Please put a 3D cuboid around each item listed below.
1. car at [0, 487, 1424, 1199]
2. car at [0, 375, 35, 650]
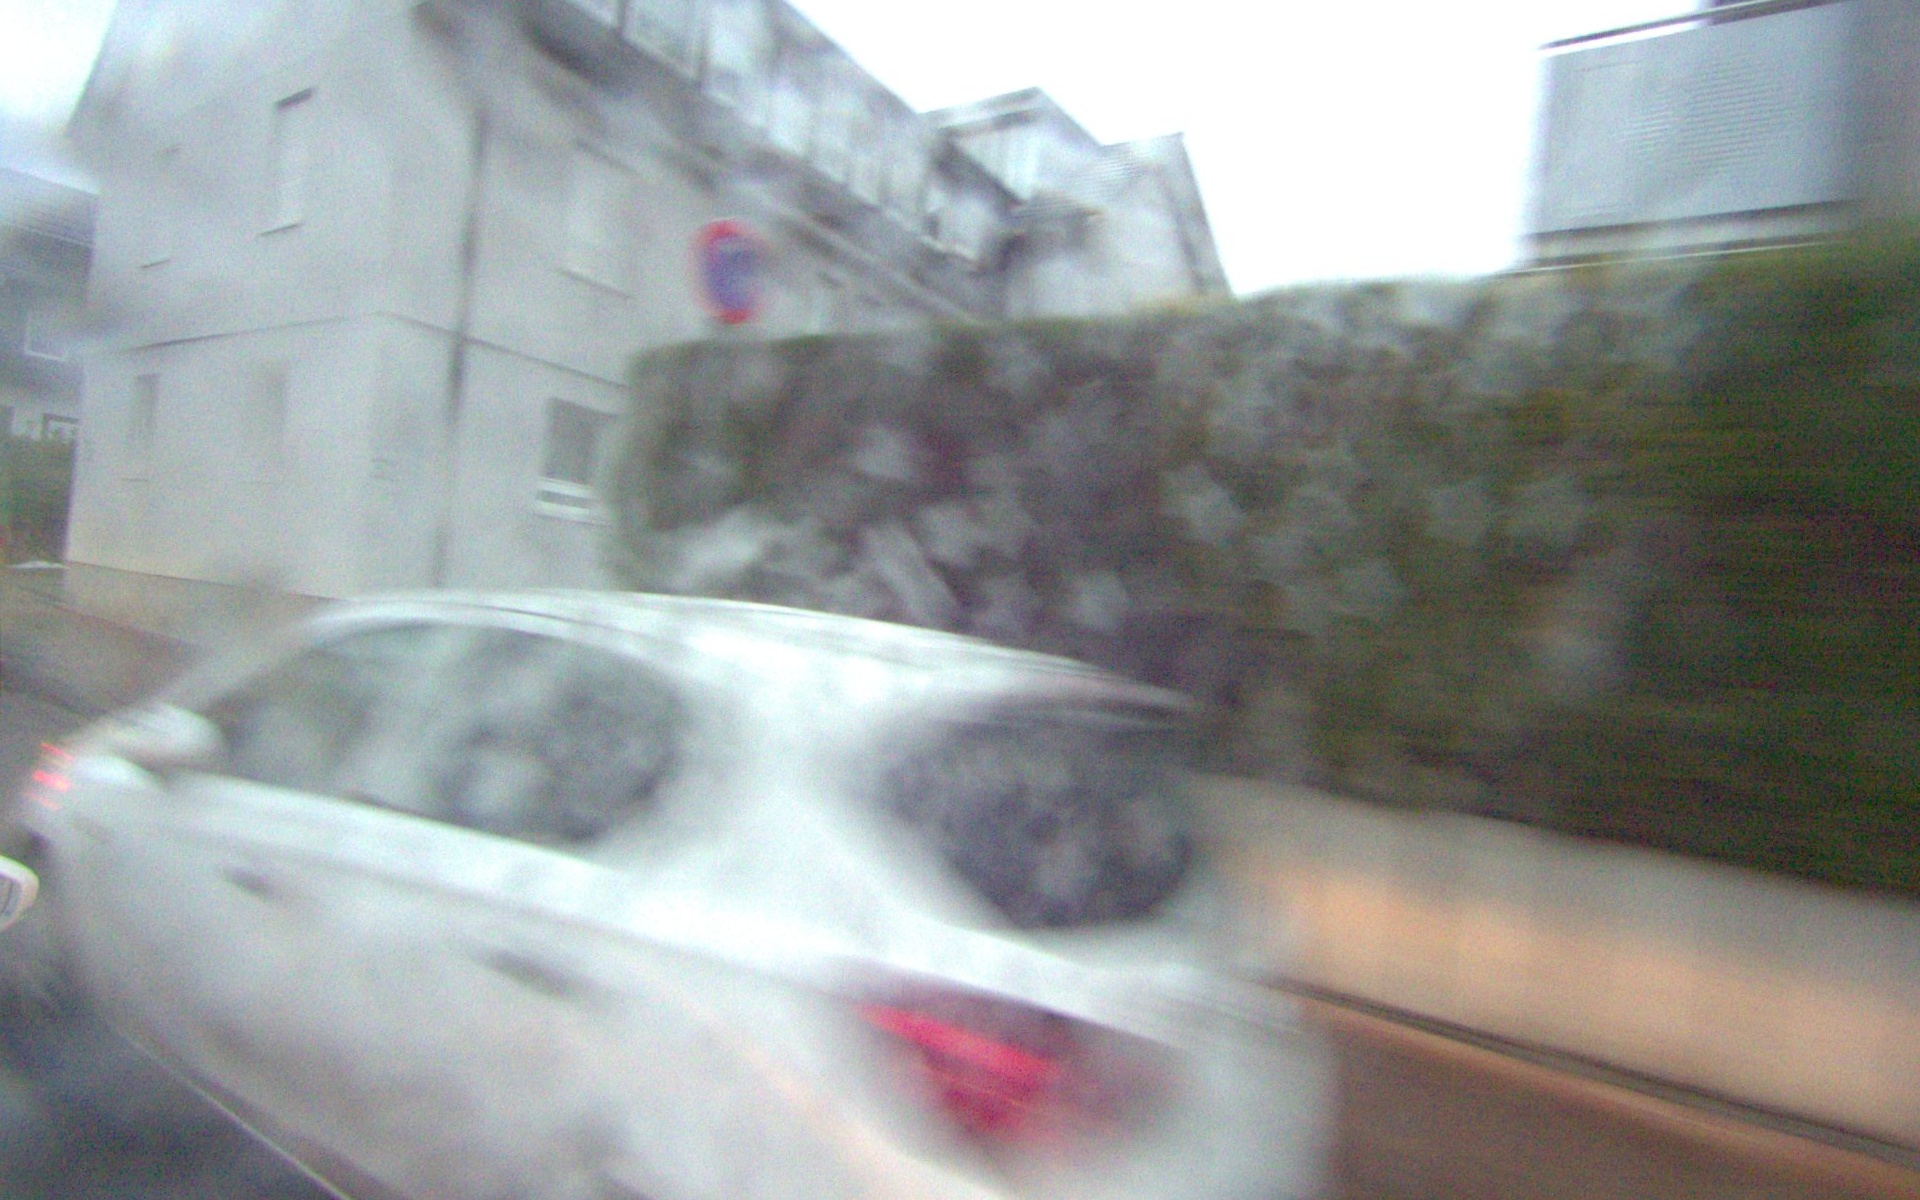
[{"bbox_3d":[-1.219,0.628,2.842,4.300,1.495,1.645,7,-1,32],"label":"car"},{"bbox_3d":[-10.826,-0.968,9.376,5.528,2.483,2.010,6,-1,36],"label":"car"}]
